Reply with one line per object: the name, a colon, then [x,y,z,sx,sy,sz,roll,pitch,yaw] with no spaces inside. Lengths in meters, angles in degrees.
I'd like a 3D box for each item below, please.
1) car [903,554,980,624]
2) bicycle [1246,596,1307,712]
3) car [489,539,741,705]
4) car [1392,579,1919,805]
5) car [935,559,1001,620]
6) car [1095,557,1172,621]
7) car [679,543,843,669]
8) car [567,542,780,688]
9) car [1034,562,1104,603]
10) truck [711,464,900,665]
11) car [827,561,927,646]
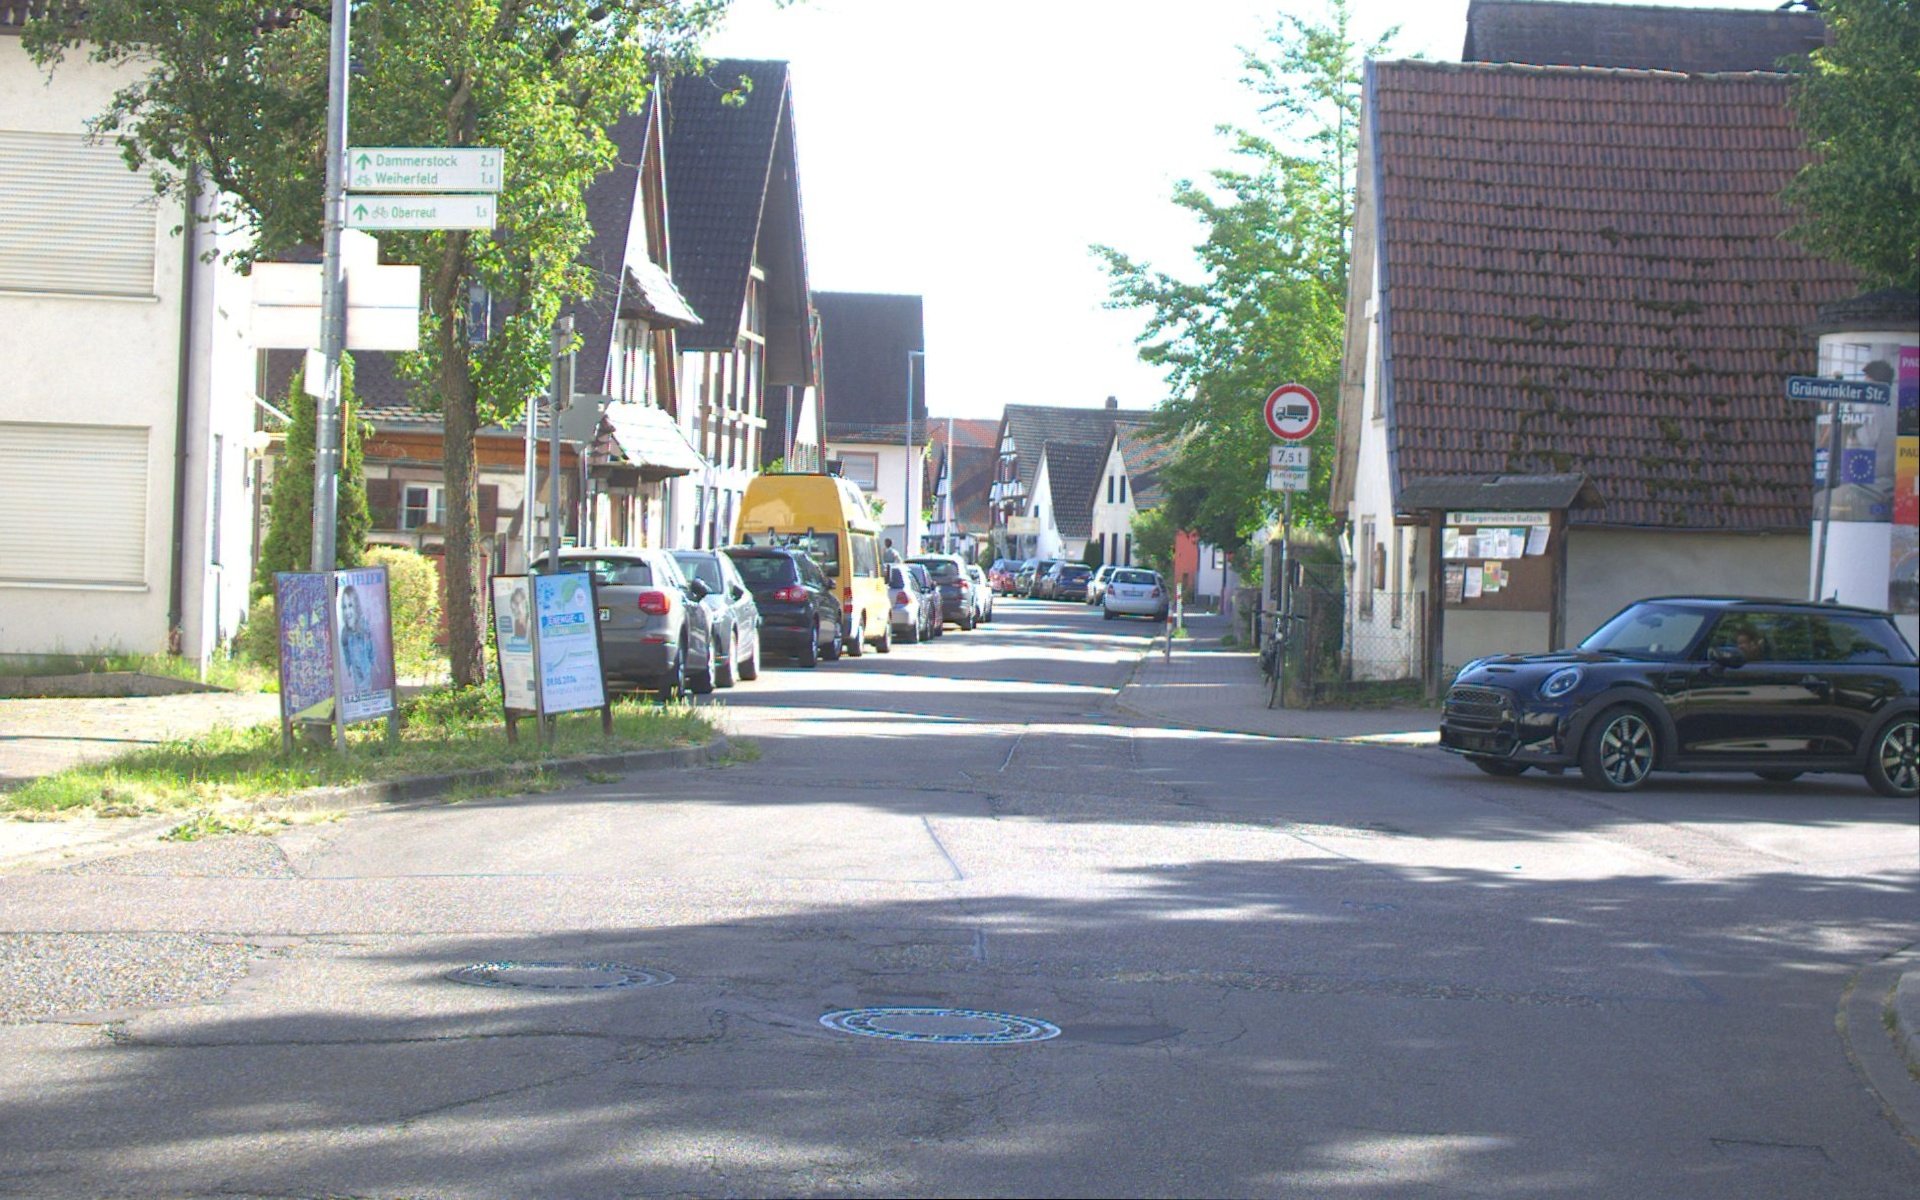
car: [-0.398,-0.252,75.817,1.588,1.438,3.615,3,1,0]
bicycle: [3.359,0.555,36.383,0.433,1.172,1.828,2,1,10]
car: [-3.409,0.202,34.695,1.867,1.500,4.107,2,0,3]
car: [5.408,0.688,25.497,3.986,1.472,1.666,2,1,-21]
car: [0.194,-0.276,87.728,1.588,1.438,3.615,3,1,0]
car: [5.036,-0.334,100.109,1.973,1.708,3.995,3,1,0]
car: [-2.735,0.076,48.004,1.807,1.616,3.880,2,0,3]
car: [-3.193,0.163,39.081,1.807,1.500,4.107,2,0,3]
car: [4.514,-0.749,142.863,1.972,1.577,3.996,3,1,-11]
truck: [-2.328,-0.531,53.427,2.268,2.859,5.782,2,0,3]
car: [-1.484,0.039,62.566,1.645,1.428,3.615,3,1,0]
